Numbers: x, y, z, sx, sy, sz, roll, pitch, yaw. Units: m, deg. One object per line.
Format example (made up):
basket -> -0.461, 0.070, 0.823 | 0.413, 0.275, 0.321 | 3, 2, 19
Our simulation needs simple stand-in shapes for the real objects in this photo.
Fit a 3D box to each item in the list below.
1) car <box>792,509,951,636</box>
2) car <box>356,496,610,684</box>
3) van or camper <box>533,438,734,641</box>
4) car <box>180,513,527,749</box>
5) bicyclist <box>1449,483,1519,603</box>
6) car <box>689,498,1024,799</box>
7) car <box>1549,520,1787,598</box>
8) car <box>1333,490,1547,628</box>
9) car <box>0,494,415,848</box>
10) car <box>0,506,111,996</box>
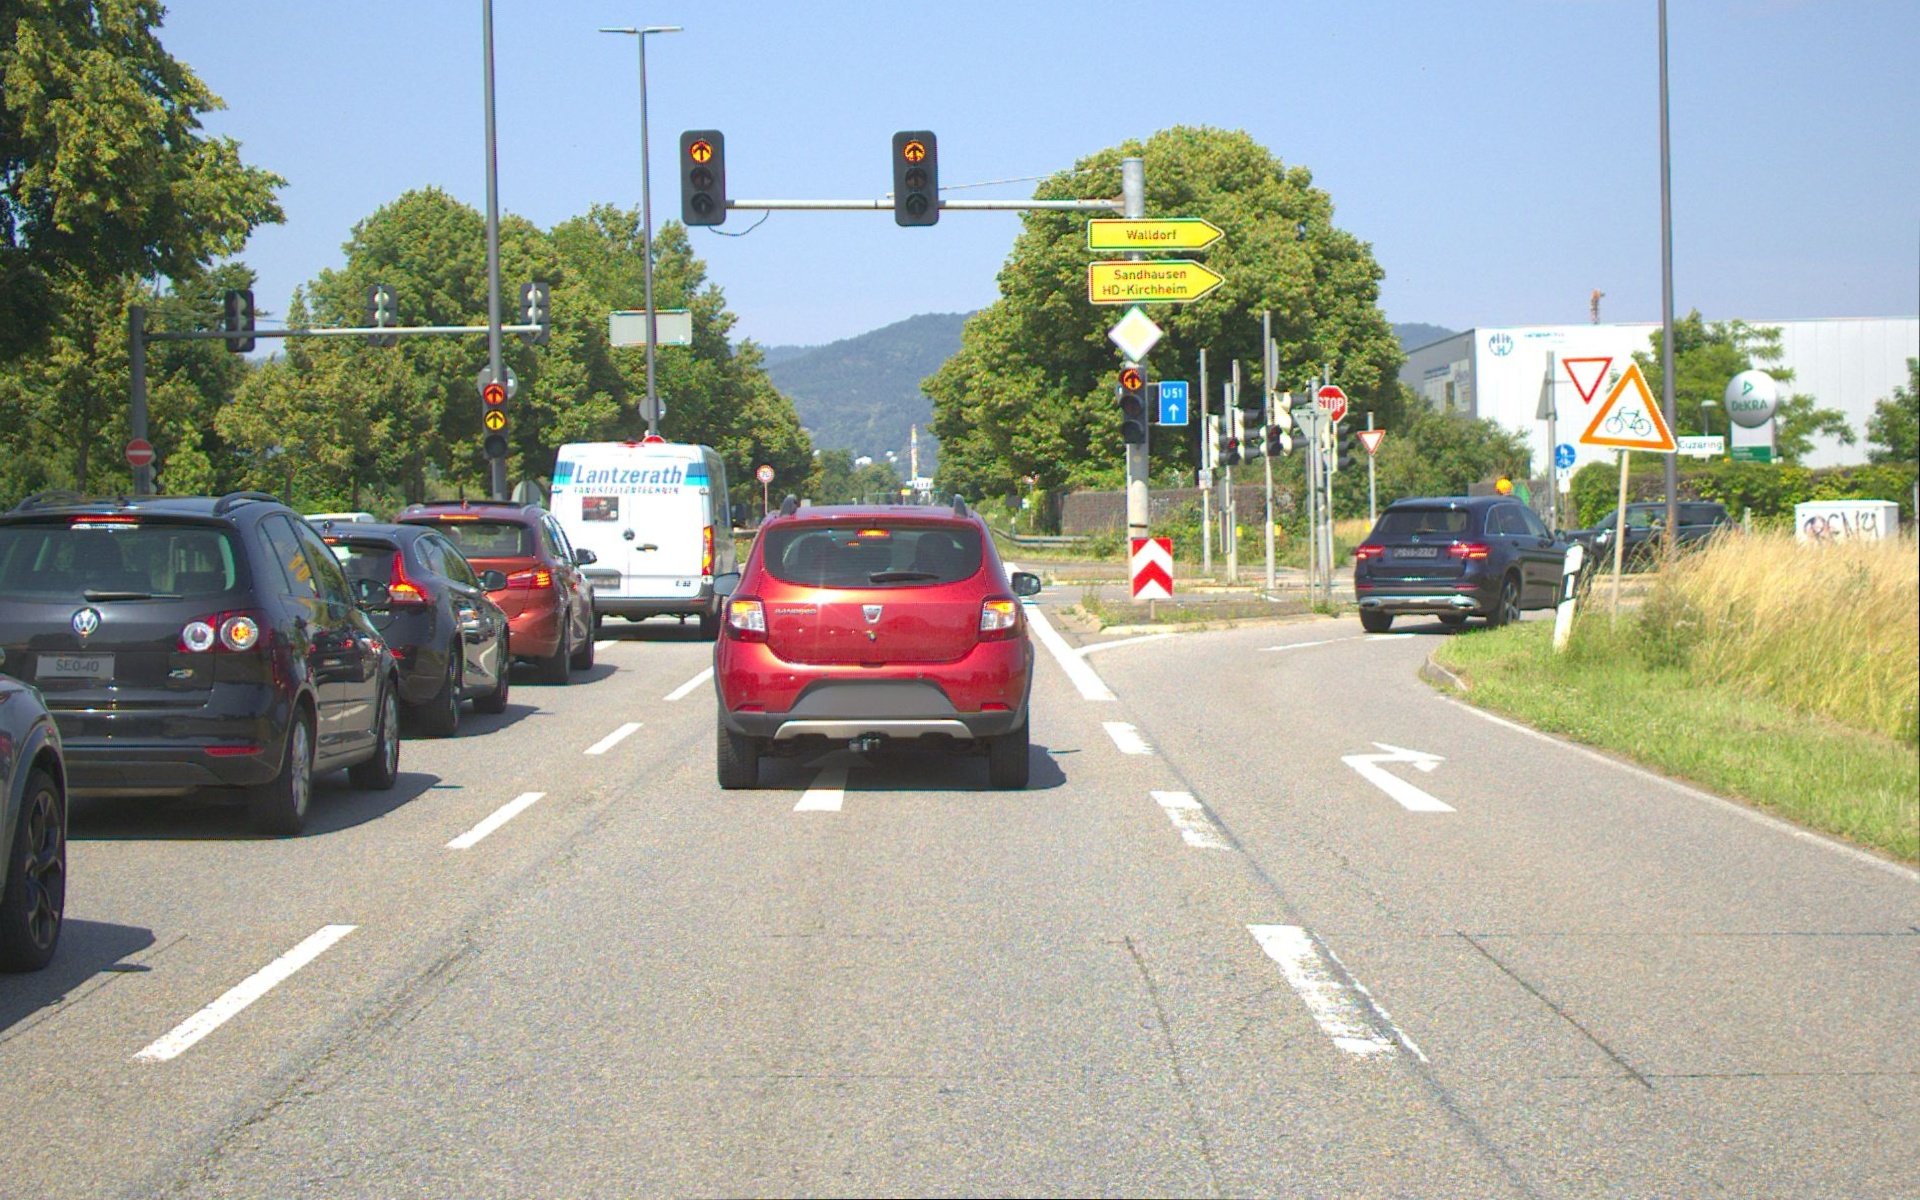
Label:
car -> -1.022, -0.364, 41.437 | 1.749, 1.453, 3.676 | 0, 2, 1
car -> -4.233, -0.139, 31.015 | 1.724, 1.594, 3.956 | 0, 2, 0
van or camper -> -3.871, -0.748, 41.520 | 2.179, 2.295, 4.827 | 0, 1, -3
car -> -4.126, 0.147, 23.951 | 1.702, 1.437, 3.956 | 1, 2, 0
bicyclist -> 7.798, -0.855, 51.195 | 0.802, 1.765, 0.809 | -1, 2, -8
car -> -0.511, 0.206, 19.866 | 1.749, 1.570, 3.676 | 0, 2, 1
car -> 12.526, -0.733, 61.008 | 3.988, 1.322, 1.806 | 0, 2, 7
car -> 6.006, -0.545, 42.626 | 1.995, 1.611, 4.336 | 1, 2, 16
car -> -3.904, 0.257, 17.197 | 1.723, 1.570, 3.893 | 0, 2, 0
car -> -3.814, 0.495, 9.805 | 1.745, 1.498, 4.363 | -1, 2, -1
